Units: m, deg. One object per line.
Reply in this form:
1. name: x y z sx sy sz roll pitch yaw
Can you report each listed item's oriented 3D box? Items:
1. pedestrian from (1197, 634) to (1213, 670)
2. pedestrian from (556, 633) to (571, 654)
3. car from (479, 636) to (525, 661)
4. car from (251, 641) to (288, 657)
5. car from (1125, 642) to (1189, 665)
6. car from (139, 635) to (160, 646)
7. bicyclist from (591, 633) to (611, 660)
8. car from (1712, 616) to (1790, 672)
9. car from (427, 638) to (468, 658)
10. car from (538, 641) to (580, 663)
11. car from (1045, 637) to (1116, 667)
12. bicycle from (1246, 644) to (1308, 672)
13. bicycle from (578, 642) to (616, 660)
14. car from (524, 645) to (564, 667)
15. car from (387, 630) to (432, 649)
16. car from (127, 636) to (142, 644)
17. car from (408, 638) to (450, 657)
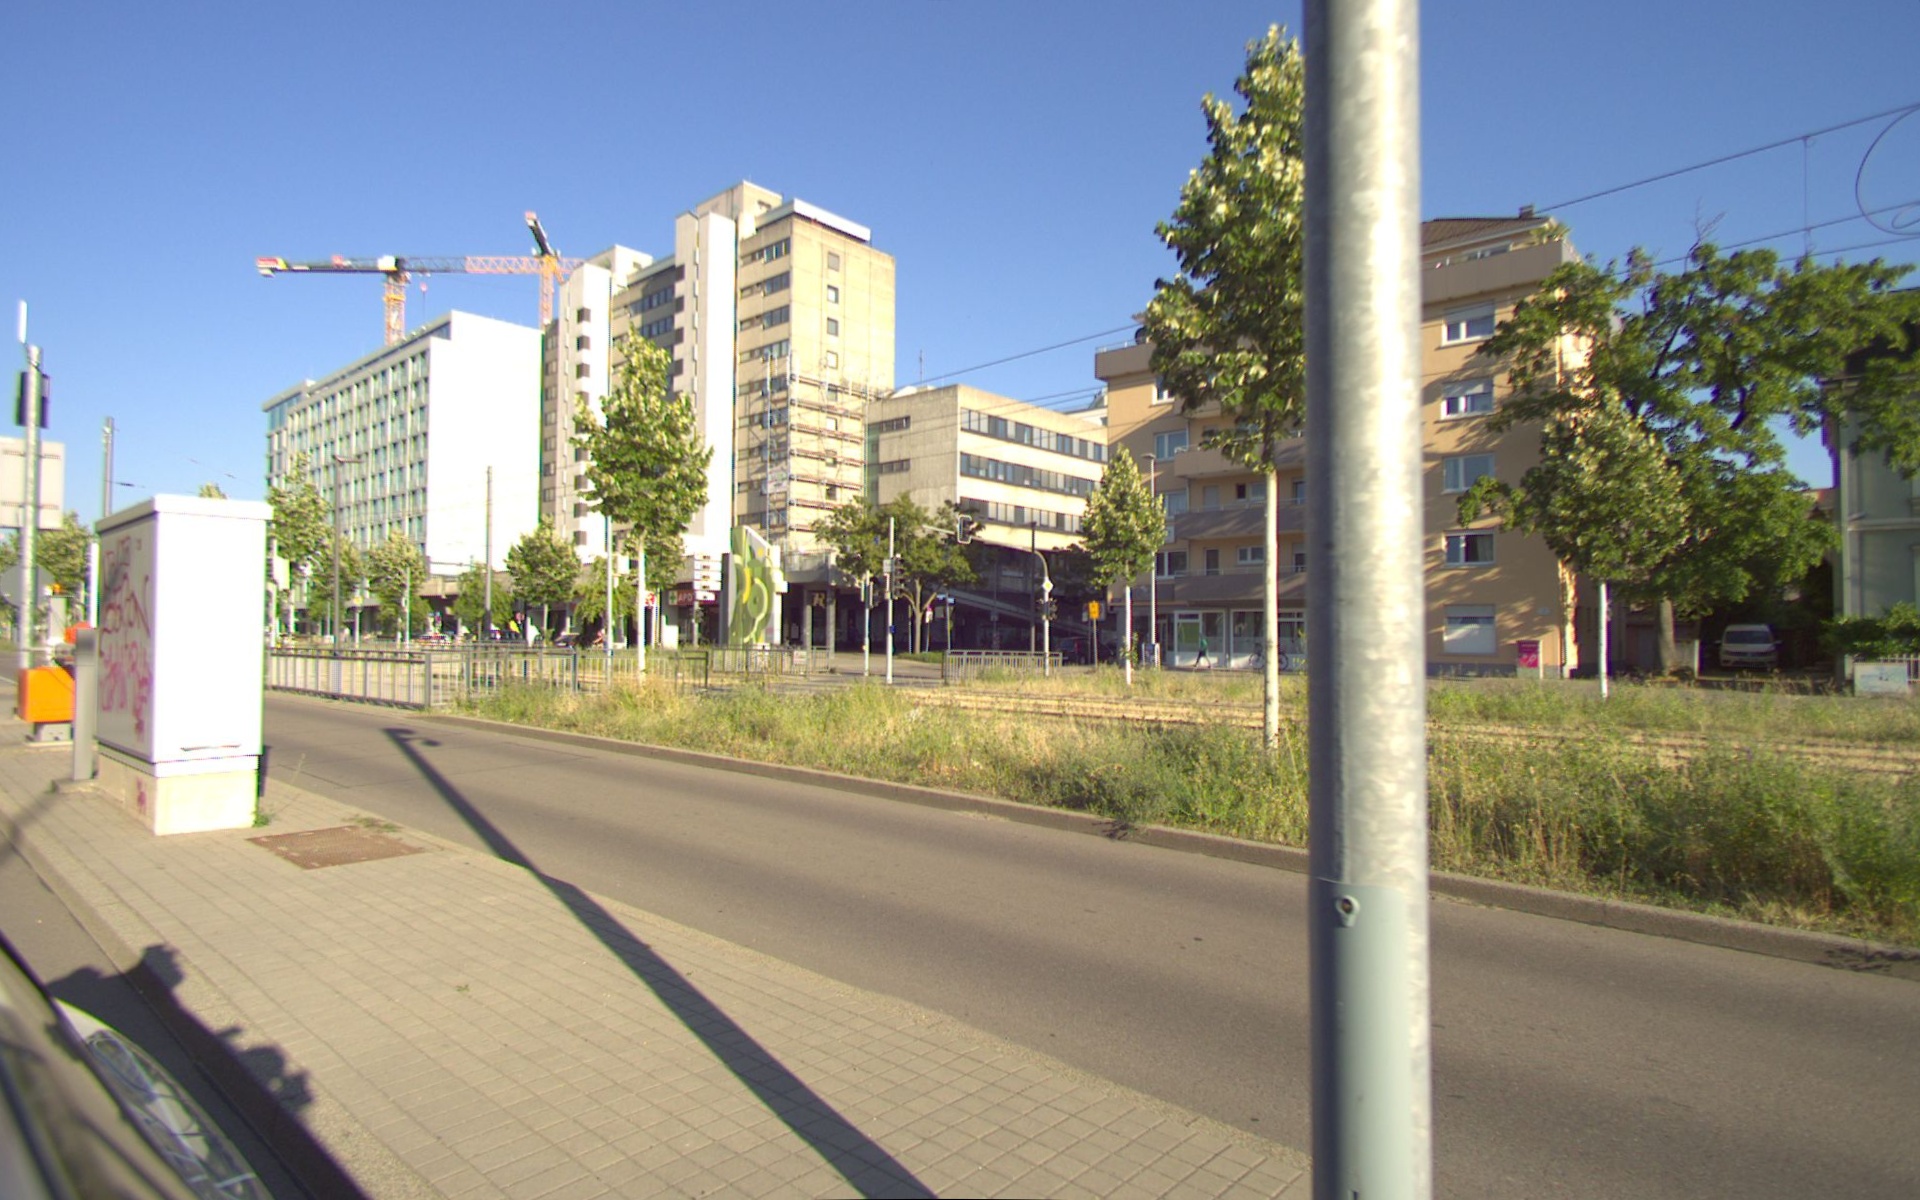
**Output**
1. pedestrian: 10.657 2.253 43.950 0.520 1.567 0.442 -2 -3 41
2. pedestrian: -31.668 3.449 80.865 0.882 1.652 0.766 -2 -3 41
3. car: -34.893 3.694 77.201 1.599 1.703 4.195 -1 0 1
4. car: -65.073 4.591 95.323 4.660 1.474 1.757 -2 -2 41
5. car: 11.736 3.152 60.194 1.999 1.313 3.944 -2 -3 42
6. car: -125.756 6.234 157.022 4.638 1.600 1.850 -1 -1 42
7. bicyclist: -19.119 2.483 53.946 0.710 1.405 0.732 -1 -2 17
8. car: 30.663 1.688 39.206 2.000 2.062 3.943 -2 -3 43
9. car: -42.408 3.944 83.839 1.598 1.455 3.794 -1 0 -2
10. car: -26.919 3.486 68.032 1.598 1.283 3.468 -1 0 -2
11. car: 6.411 2.724 53.702 1.846 1.508 3.945 -2 -3 41
12. bicycle: 13.739 2.497 43.927 2.585 1.145 0.525 -2 -3 42
13. bicycle: -19.422 2.724 54.180 2.015 0.898 0.503 -1 -2 19
14. car: -29.849 4.018 72.704 1.598 1.413 3.468 -1 0 -2
15. car: -47.602 3.418 87.588 1.597 1.455 4.551 -1 0 -3
16. car: -154.765 7.525 189.717 3.879 1.388 1.592 -1 -1 42
17. car: -44.756 3.972 85.369 1.763 1.455 3.804 -1 0 -3
